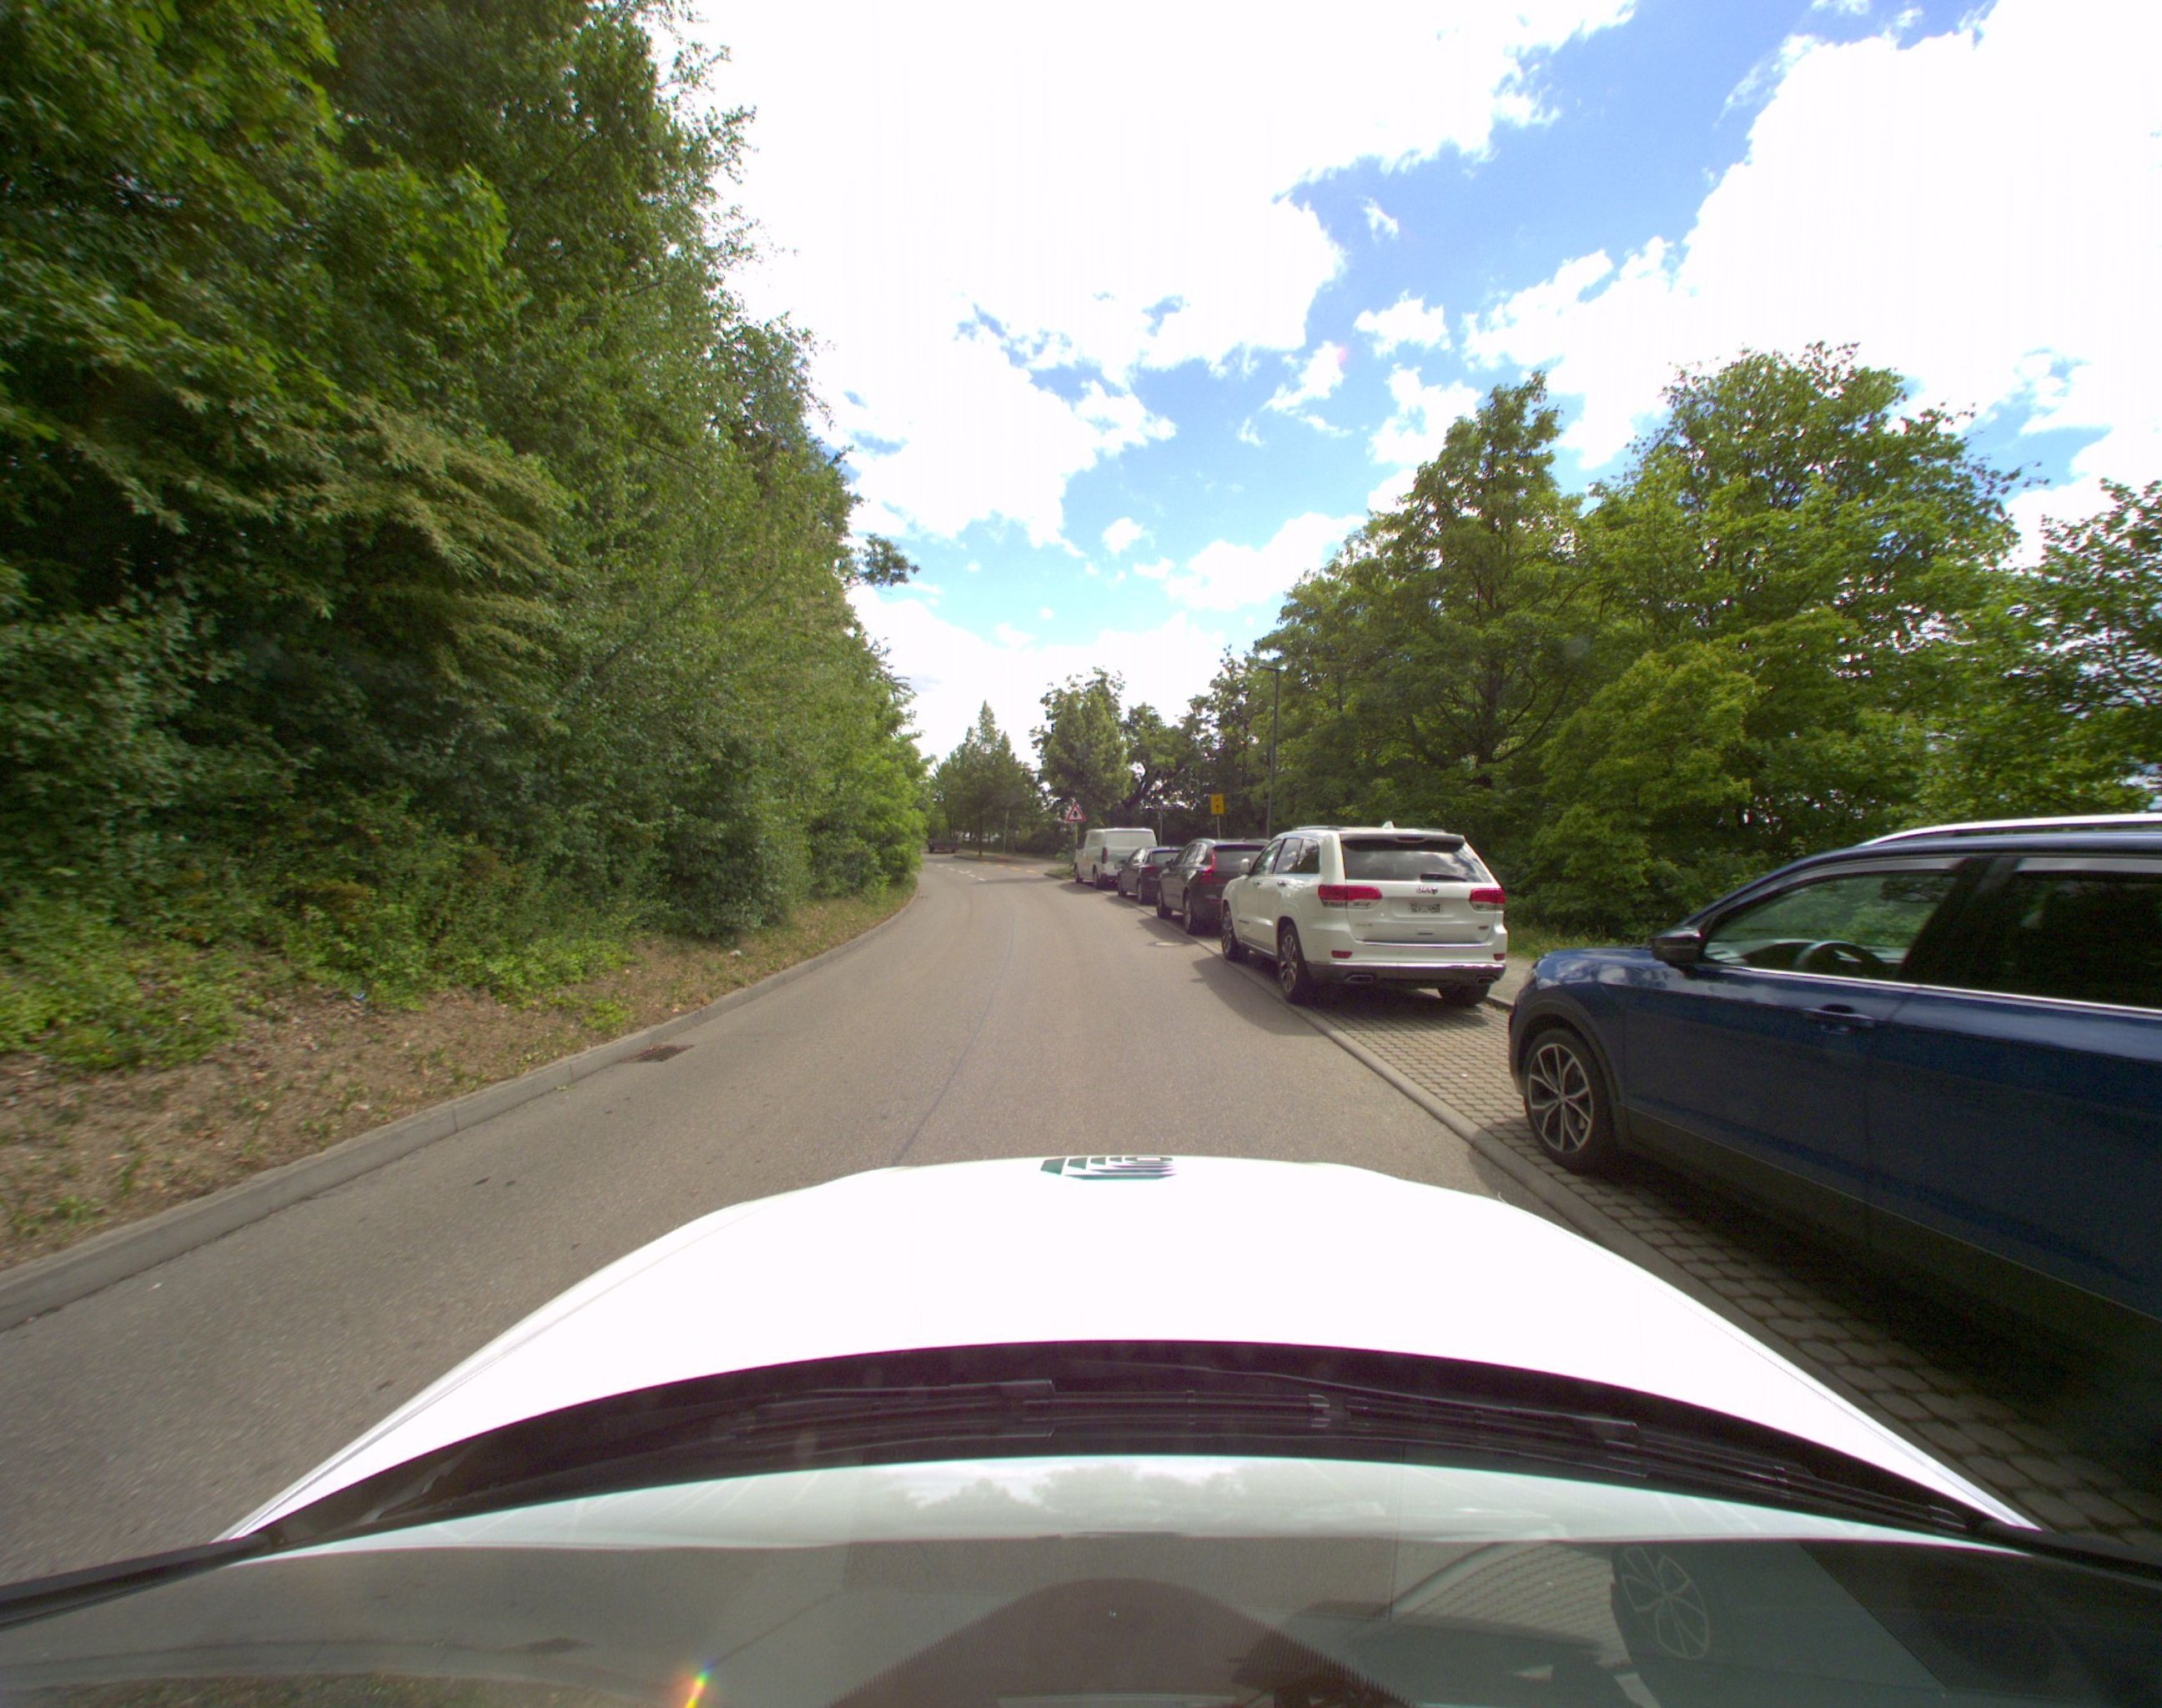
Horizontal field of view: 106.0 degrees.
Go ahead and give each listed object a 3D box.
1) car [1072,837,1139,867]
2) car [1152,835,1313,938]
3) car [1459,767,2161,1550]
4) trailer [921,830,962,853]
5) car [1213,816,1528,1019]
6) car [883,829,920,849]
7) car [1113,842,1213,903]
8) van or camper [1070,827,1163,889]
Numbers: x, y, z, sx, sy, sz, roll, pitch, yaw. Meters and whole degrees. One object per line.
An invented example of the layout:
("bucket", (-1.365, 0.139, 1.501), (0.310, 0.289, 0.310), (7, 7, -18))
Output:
("car", (1.354, -0.137, 46.468), (3.534, 1.480, 1.777), (2, 2, -9))
("car", (2.662, 0.472, 15.369), (1.989, 1.626, 4.272), (-1, 1, -4))
("car", (3.045, 0.630, 2.664), (1.705, 1.591, 3.998), (1, 0, -1))
("trailer", (-10.171, -0.949, 59.154), (1.794, 1.525, 3.966), (-1, 4, -27))
("car", (2.866, 0.520, 9.289), (1.866, 1.689, 4.577), (2, 1, -1))
("car", (-14.908, -1.289, 67.442), (1.781, 1.411, 3.961), (-1, 4, -32))
("car", (2.093, 0.442, 21.911), (1.796, 1.464, 3.989), (1, 0, -8))
("van or camper", (1.066, 0.061, 27.825), (1.994, 1.920, 5.246), (0, 1, -11))
